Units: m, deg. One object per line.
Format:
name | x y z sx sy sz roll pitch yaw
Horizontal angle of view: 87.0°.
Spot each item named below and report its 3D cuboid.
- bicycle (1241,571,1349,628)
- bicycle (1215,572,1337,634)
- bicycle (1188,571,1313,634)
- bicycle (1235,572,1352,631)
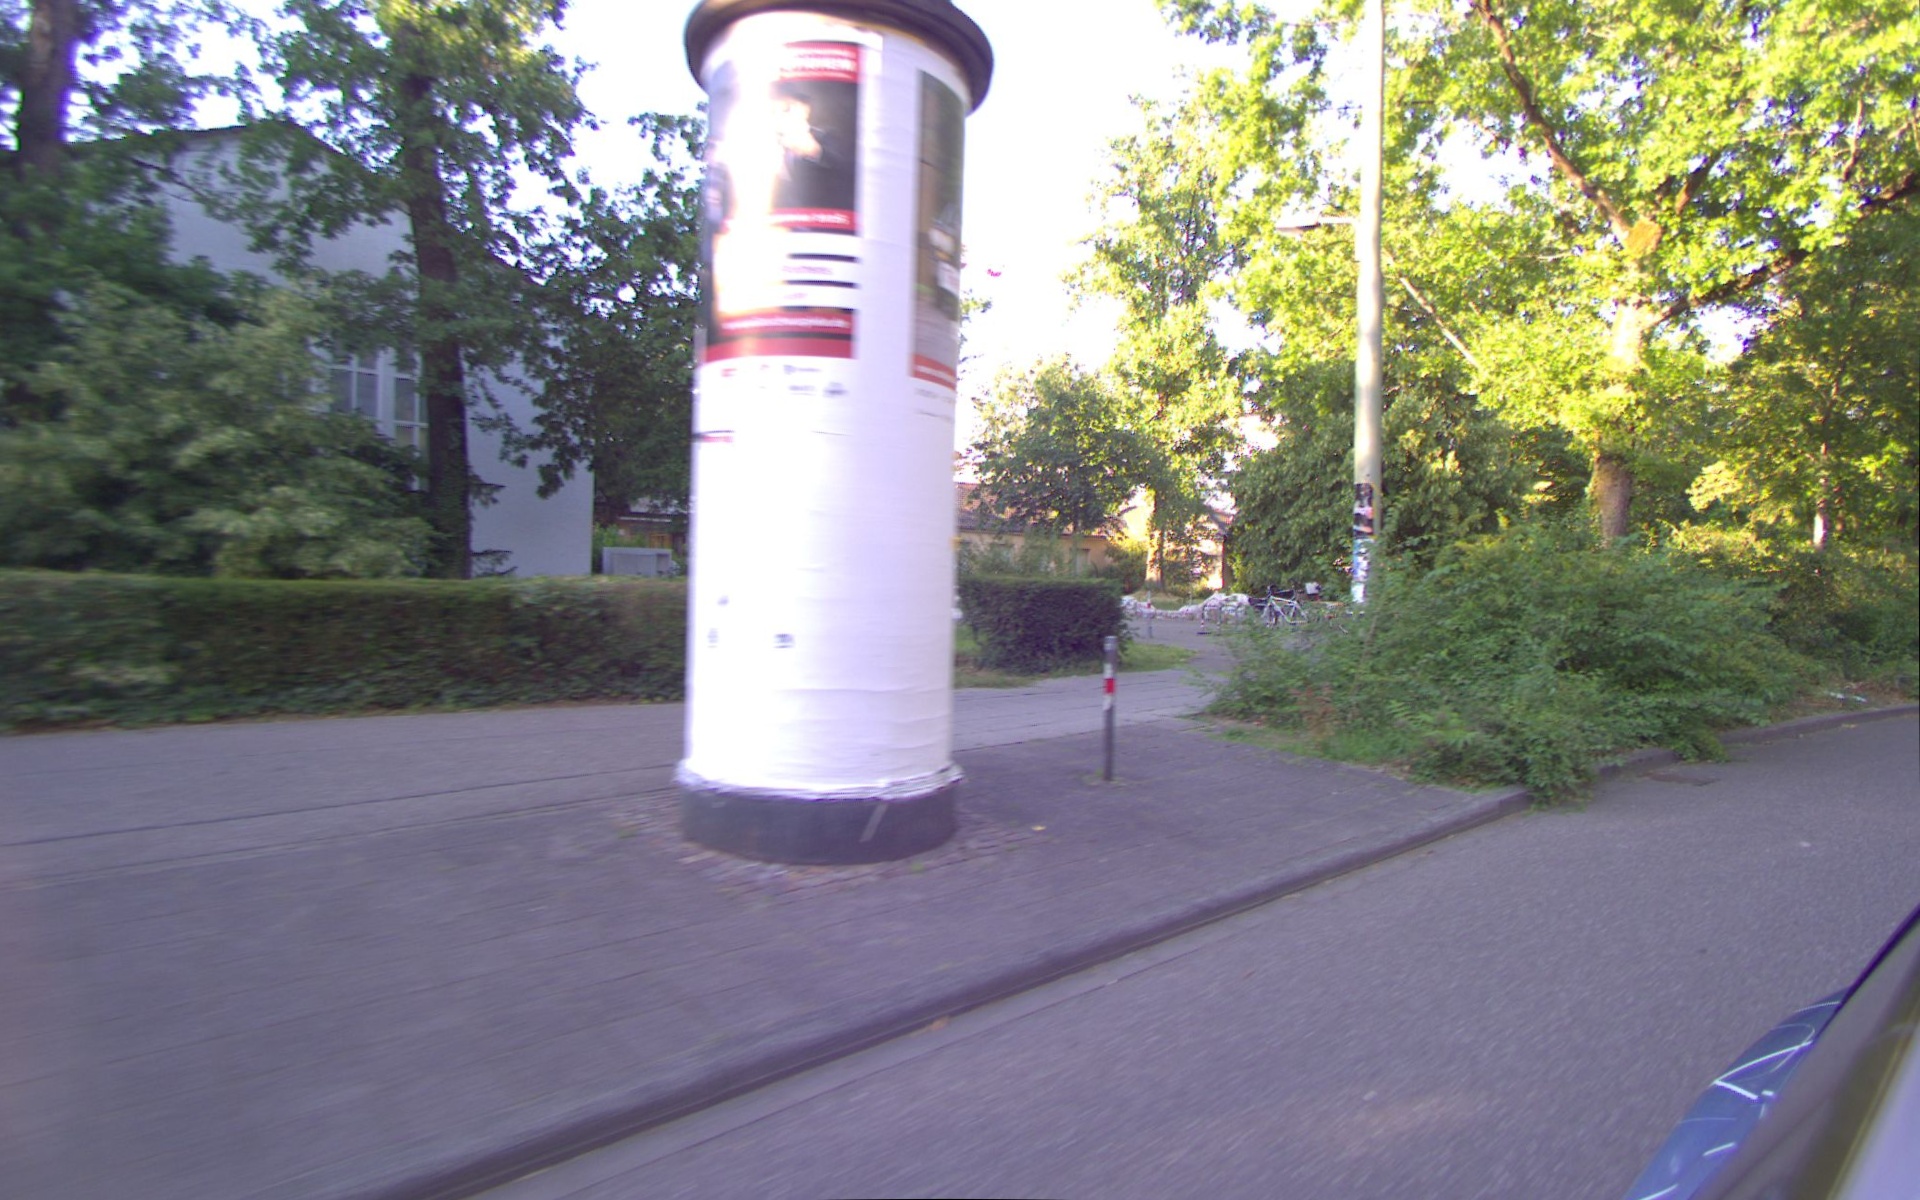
bicycle | 8.286 -0.042 25.096 2.432 1.314 0.743 2 2 32
bicycle | 6.868 0.035 22.070 2.435 1.236 0.742 2 2 36
bicycle | 6.161 0.018 21.520 2.435 1.236 0.742 2 2 36
bicycle | 7.613 0.009 23.154 2.432 1.236 0.743 2 2 32
